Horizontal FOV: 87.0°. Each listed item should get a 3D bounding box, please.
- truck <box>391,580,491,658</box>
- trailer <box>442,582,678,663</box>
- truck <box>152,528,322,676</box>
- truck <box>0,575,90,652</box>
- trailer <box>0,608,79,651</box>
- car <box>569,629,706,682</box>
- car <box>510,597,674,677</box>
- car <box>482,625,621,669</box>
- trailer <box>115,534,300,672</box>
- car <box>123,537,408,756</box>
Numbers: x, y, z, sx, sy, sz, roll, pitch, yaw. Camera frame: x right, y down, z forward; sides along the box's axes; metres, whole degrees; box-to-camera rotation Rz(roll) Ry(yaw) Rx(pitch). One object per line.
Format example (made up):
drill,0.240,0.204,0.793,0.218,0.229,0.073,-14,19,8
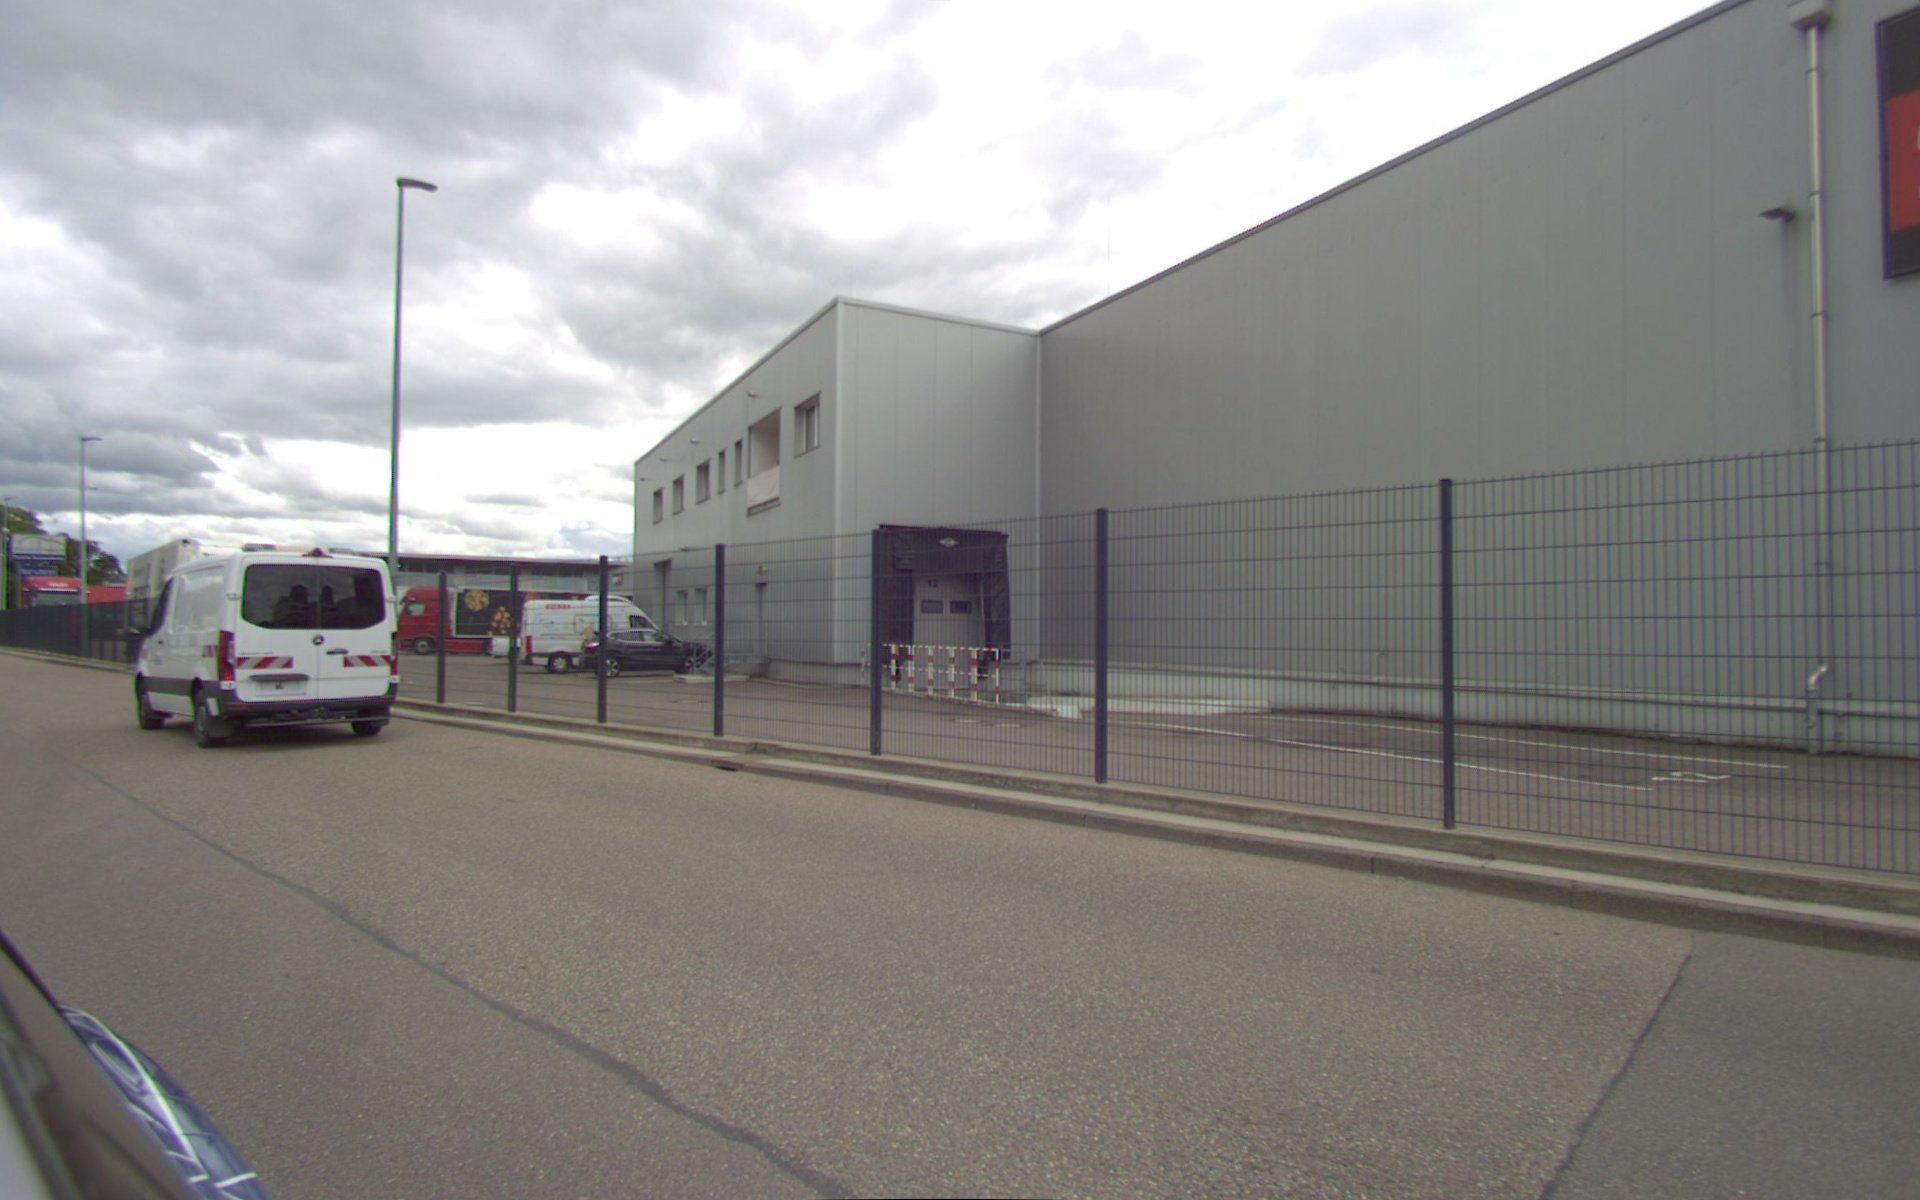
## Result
truck,-30.053,1.179,58.772,4.797,4.237,3.058,3,-4,-26
trailer,-24.146,1.515,61.678,12.962,4.245,3.058,3,-4,-26
truck,-22.977,0.187,32.060,3.320,4.192,5.630,5,-5,-45
truck,-50.097,0.802,55.276,5.668,3.878,2.981,-1,-4,42
trailer,-54.573,1.714,59.262,12.045,2.209,3.006,-1,-4,42
car,-10.607,1.788,33.288,4.010,1.589,1.950,0,-2,-27
car,-13.507,1.317,37.187,5.341,2.751,2.248,0,-2,-30
car,-18.322,2.139,45.481,5.595,1.823,1.950,3,-3,-27
trailer,-27.892,0.297,37.047,3.320,4.192,13.856,5,-4,-44
car,-9.578,0.582,13.753,5.254,2.434,1.972,-2,-2,41
